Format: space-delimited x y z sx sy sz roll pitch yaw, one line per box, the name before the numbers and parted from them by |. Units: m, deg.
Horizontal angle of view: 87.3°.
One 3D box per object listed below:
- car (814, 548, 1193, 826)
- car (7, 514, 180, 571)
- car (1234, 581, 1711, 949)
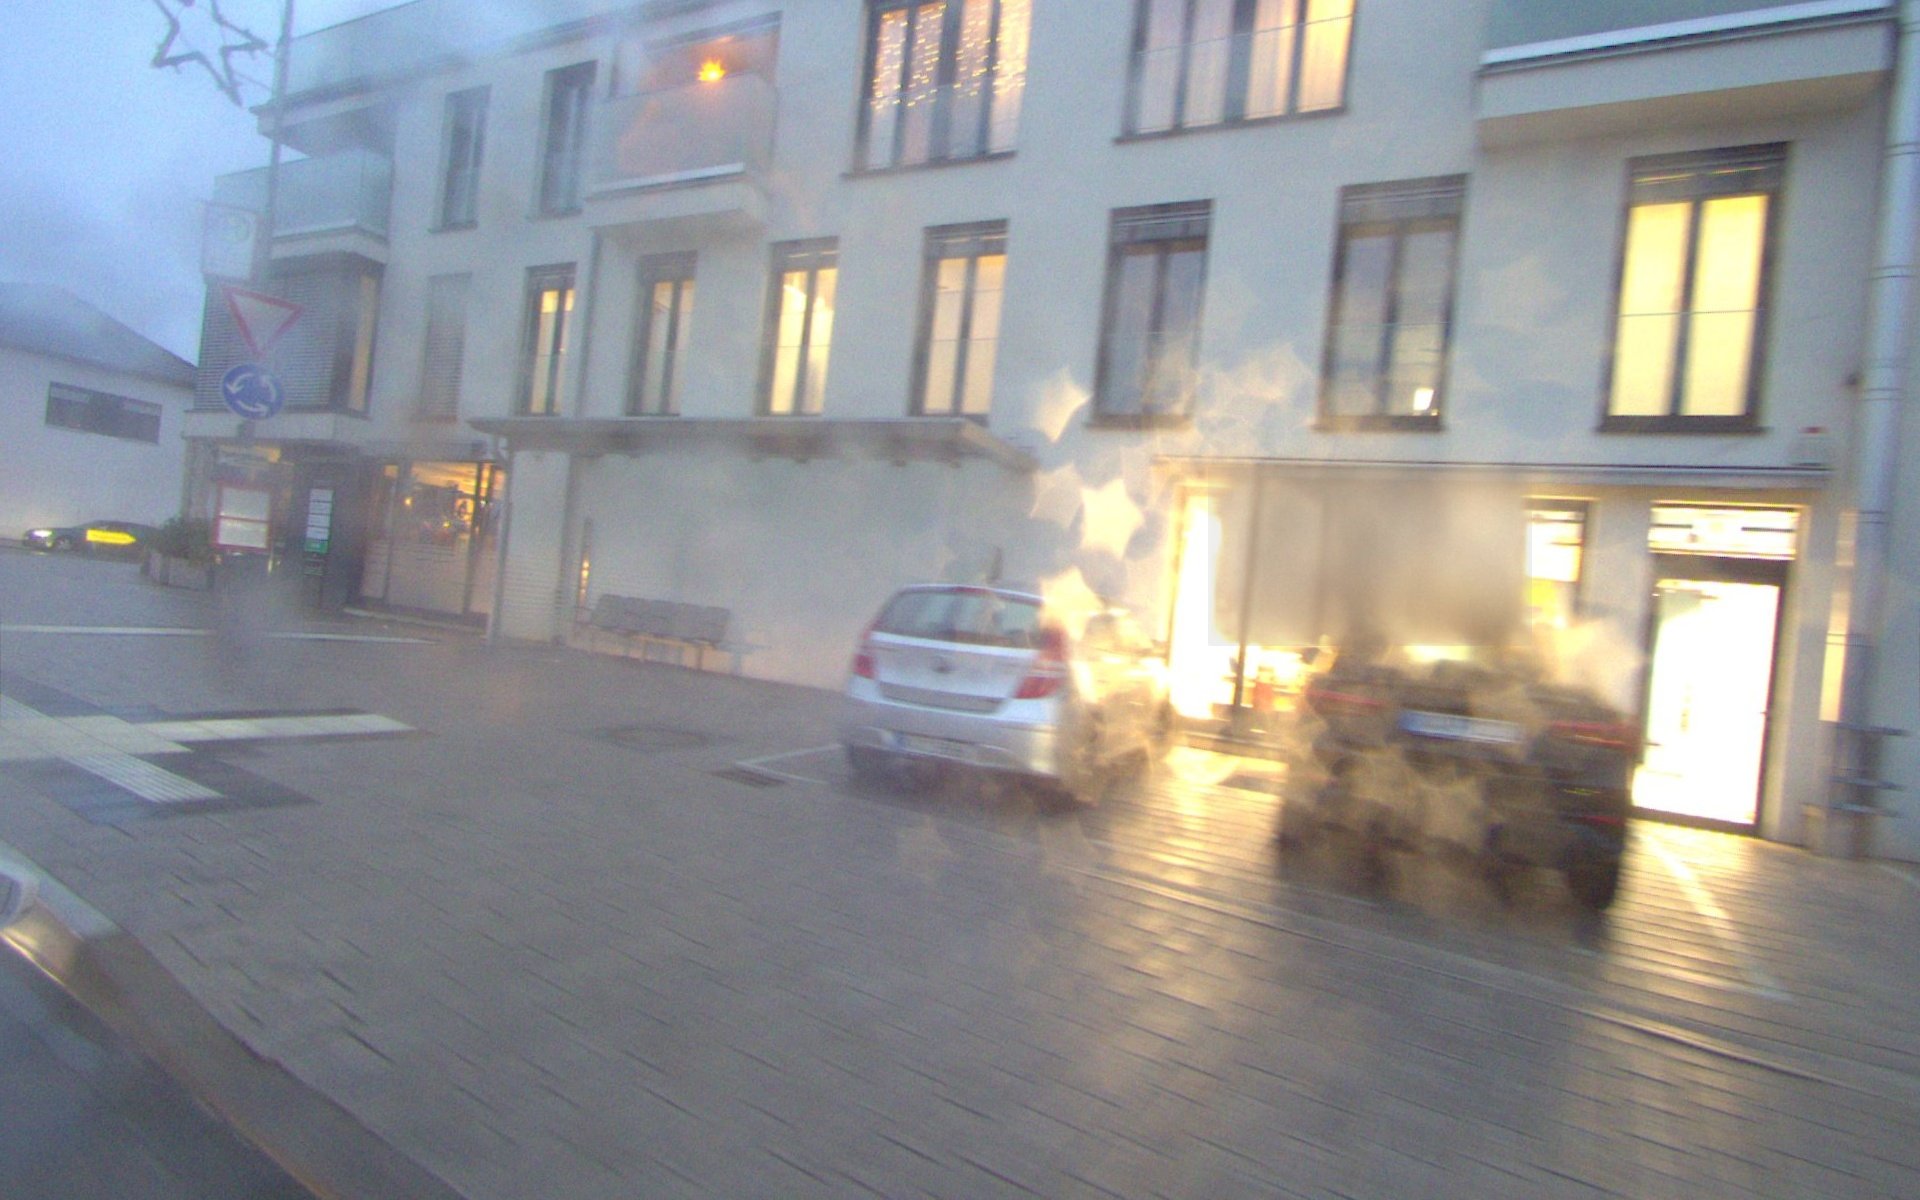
car | 0.636 0.516 8.104 1.780 1.523 3.995 6 2 21
car | -30.668 -1.993 35.745 1.819 1.399 4.232 3 -4 29
car | 3.304 0.798 6.925 1.939 1.511 4.517 5 0 24
